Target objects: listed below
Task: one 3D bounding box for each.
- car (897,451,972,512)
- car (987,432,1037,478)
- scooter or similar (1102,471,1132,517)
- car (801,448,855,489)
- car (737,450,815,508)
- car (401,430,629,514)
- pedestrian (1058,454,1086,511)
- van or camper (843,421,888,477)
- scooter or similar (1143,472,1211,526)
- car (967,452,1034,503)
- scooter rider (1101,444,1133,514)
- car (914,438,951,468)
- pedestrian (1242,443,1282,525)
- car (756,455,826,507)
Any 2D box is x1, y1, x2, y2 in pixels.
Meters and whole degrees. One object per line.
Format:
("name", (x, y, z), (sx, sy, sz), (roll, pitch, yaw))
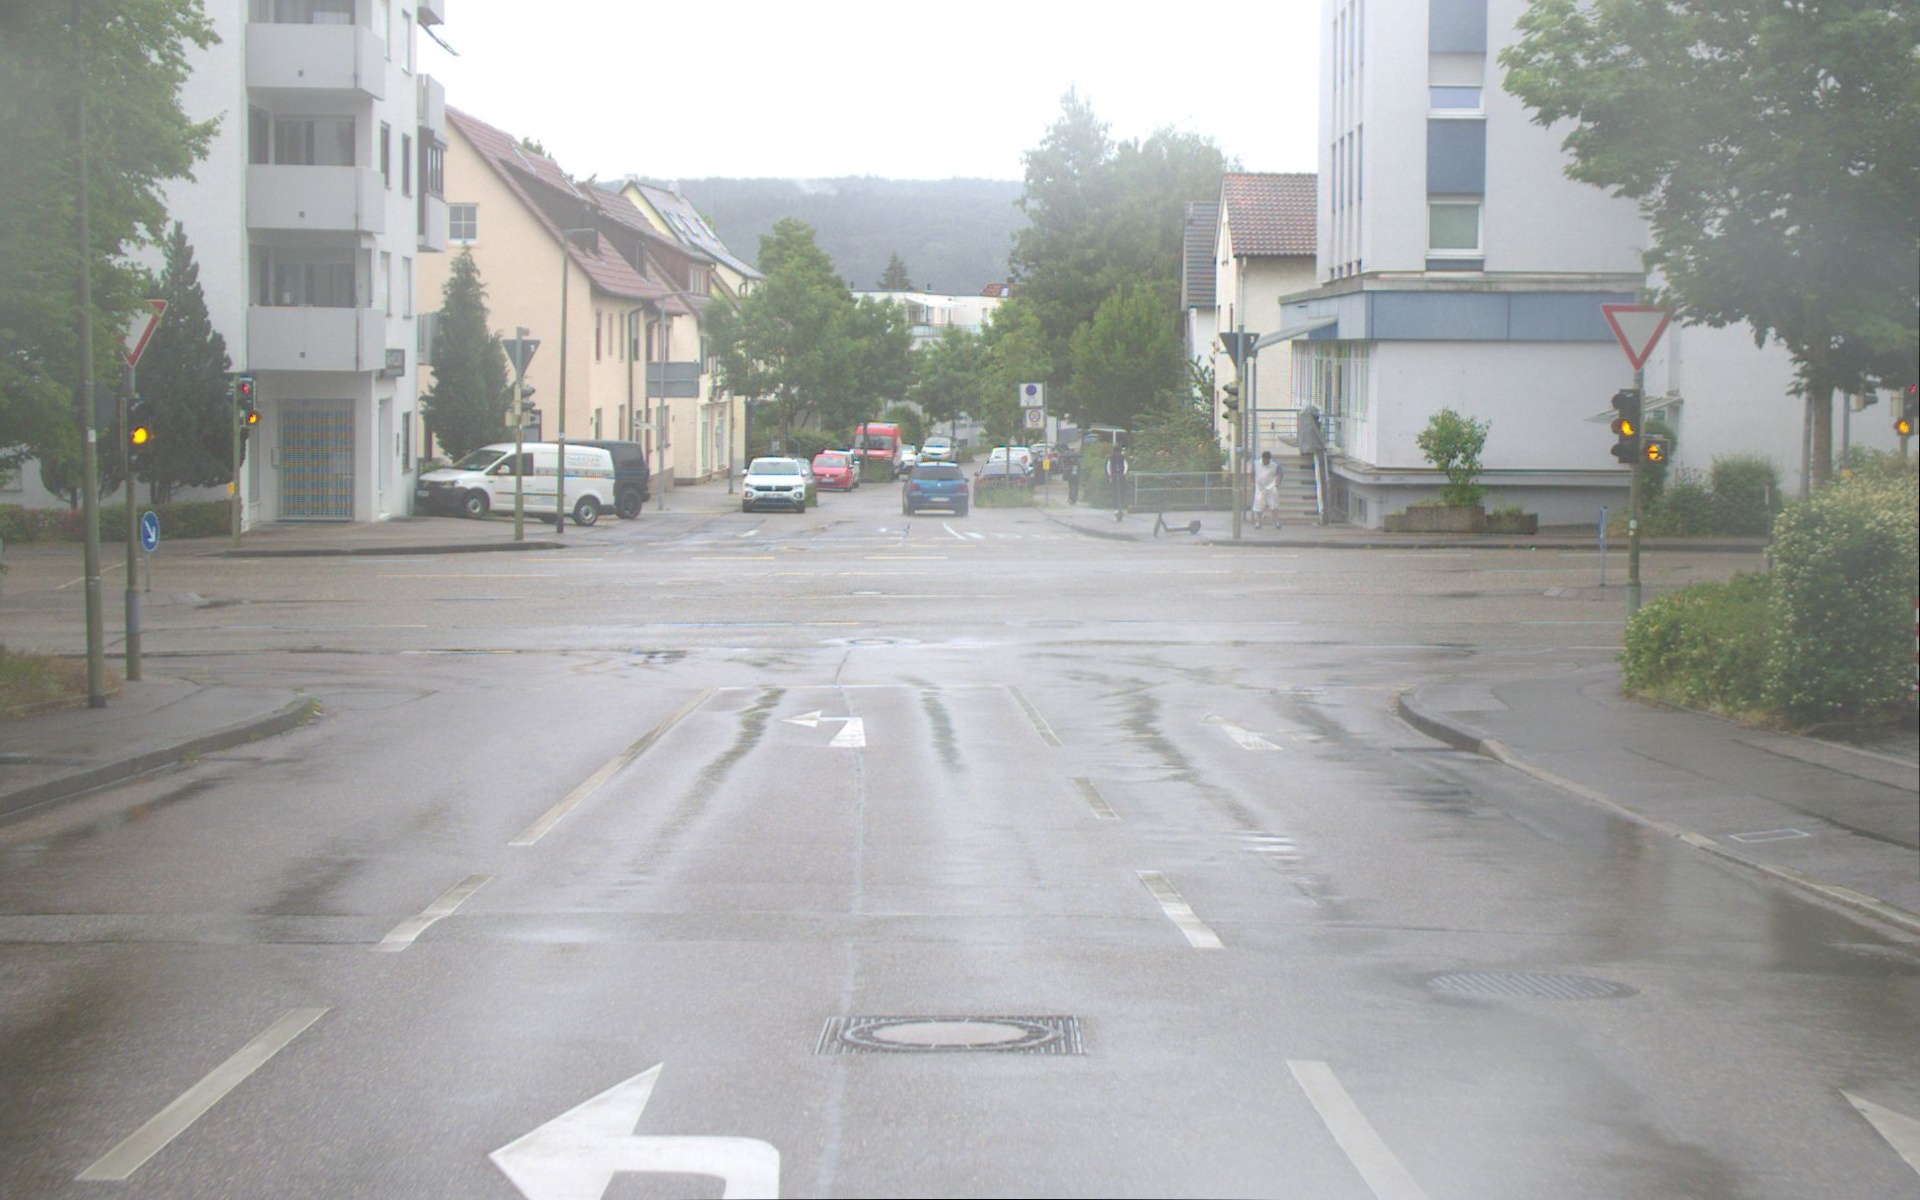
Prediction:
("car", (-0.738, -3.376, 97.558), (1.993, 1.678, 4.001), (-1, 3, -2))
("car", (2.039, -5.676, 134.813), (1.901, 1.739, 4.192), (-1, 2, 0))
("scooter or similar", (4.062, -2.747, 88.989), (0.757, 1.167, 1.314), (-1, 2, 2))
("car", (-5.186, -5.184, 135.565), (1.901, 1.553, 4.192), (-1, 2, 0))
("car", (-5.275, -3.504, 99.131), (1.993, 1.620, 4.192), (-1, 2, 0))
("car", (-10.184, -2.945, 78.842), (4.830, 1.829, 2.000), (-3, 3, -38))
("pedestrian", (3.659, -3.851, 112.574), (0.745, 1.842, 0.526), (3, 2, -6))
("van or camper", (-4.325, -6.942, 157.717), (1.901, 2.504, 4.239), (-1, 2, 0))
("scooter or similar", (4.400, -2.056, 69.801), (1.268, 1.077, 0.877), (-1, 2, -4))
("car", (1.323, -4.038, 112.916), (2.146, 1.583, 4.128), (-1, 2, 0))
("scooter rider", (4.059, -3.136, 88.852), (0.752, 1.789, 0.673), (-1, 2, 0))
("car", (-1.480, -7.939, 185.752), (1.901, 1.553, 4.192), (-1, 2, 0))
("pedestrian", (6.232, -2.389, 70.913), (0.647, 1.641, 0.526), (3, 2, -6))
("car", (-5.412, -3.836, 110.532), (1.993, 1.620, 4.192), (-1, 2, 0))
